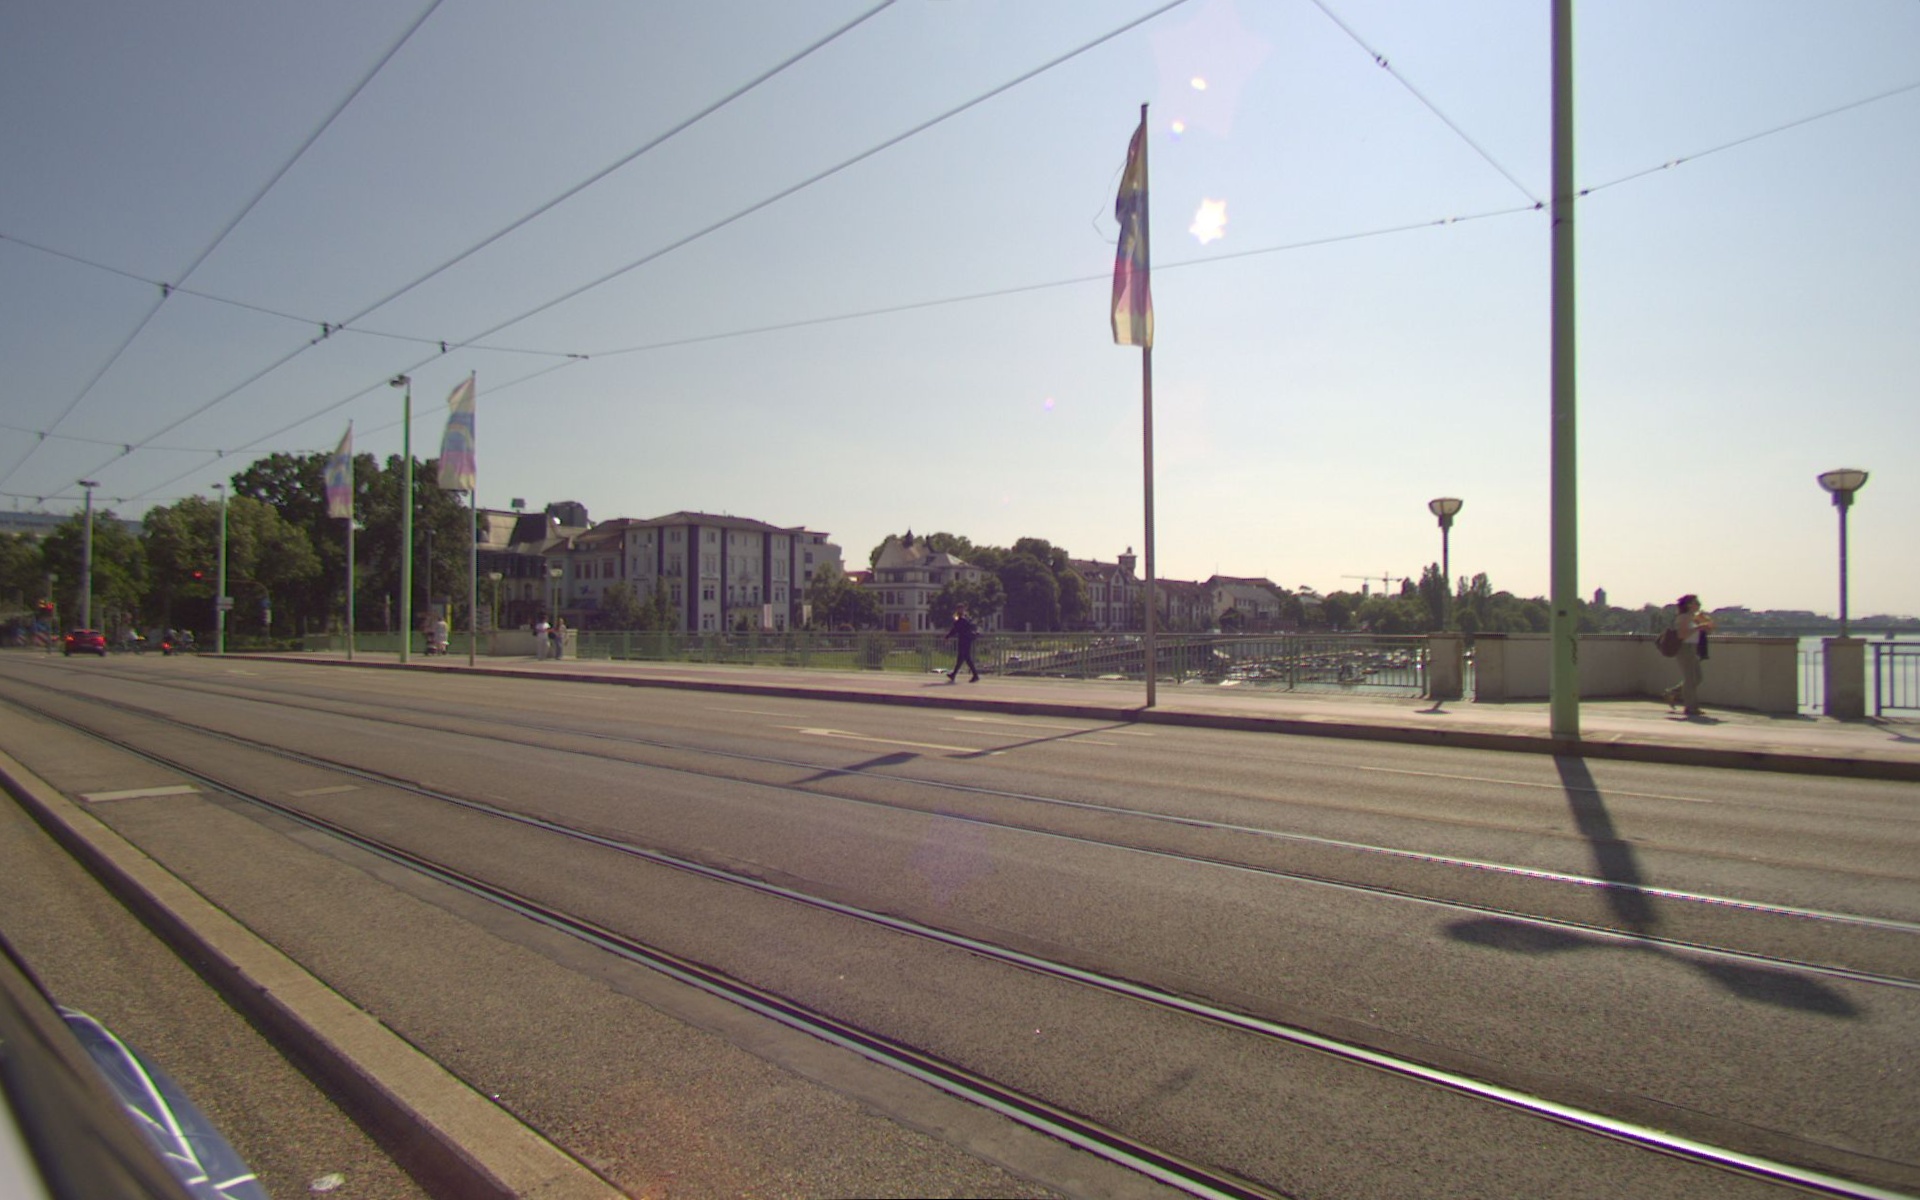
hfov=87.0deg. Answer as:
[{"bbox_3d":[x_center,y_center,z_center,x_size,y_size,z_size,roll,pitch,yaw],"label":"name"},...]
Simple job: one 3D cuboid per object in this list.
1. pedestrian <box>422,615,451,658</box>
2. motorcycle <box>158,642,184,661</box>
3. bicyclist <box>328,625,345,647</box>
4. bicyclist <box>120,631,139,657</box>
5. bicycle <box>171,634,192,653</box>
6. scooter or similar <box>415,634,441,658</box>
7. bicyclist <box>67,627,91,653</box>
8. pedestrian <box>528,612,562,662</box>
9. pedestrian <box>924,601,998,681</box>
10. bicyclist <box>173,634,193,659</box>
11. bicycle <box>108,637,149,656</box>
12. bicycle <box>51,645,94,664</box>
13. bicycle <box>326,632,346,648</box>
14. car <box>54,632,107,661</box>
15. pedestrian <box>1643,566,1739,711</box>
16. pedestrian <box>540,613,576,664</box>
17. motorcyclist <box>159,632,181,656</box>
[{"bbox_3d":[-23.144,1.613,44.748,0.974,1.867,0.731,-2,1,39],"label":"pedestrian"},{"bbox_3d":[-47.234,3.082,60.582,1.950,1.032,0.836,-2,-1,40],"label":"motorcycle"},{"bbox_3d":[-46.067,2.652,74.764,0.771,1.621,0.868,-1,-2,41],"label":"bicyclist"},{"bbox_3d":[-52.597,2.779,64.114,0.759,1.621,0.882,1,-2,-31],"label":"bicyclist"},{"bbox_3d":[-50.819,2.849,66.025,1.920,1.122,0.750,-4,-2,43],"label":"bicycle"},{"bbox_3d":[-23.826,2.057,45.334,0.832,1.037,0.731,-2,1,39],"label":"scooter or similar"},{"bbox_3d":[-55.263,2.495,63.472,0.865,1.621,0.774,0,-1,-15],"label":"bicyclist"},{"bbox_3d":[-15.393,1.379,37.549,0.956,1.798,0.731,-2,1,39],"label":"pedestrian"},{"bbox_3d":[0.015,0.931,23.116,1.293,1.771,1.086,-2,-2,39],"label":"pedestrian"},{"bbox_3d":[-50.854,3.028,66.209,0.772,1.621,0.867,-4,-5,43],"label":"bicyclist"},{"bbox_3d":[-52.641,2.937,64.079,1.887,1.122,0.763,1,-2,-32],"label":"bicycle"},{"bbox_3d":[-55.496,3.389,63.299,1.887,1.122,0.763,0,-1,-17],"label":"bicycle"},{"bbox_3d":[-46.163,2.932,74.840,1.919,1.122,0.751,-1,-2,41],"label":"bicycle"},{"bbox_3d":[-49.518,2.593,56.952,4.191,1.526,1.971,-1,-2,45],"label":"car"},{"bbox_3d":[10.673,0.556,14.777,1.041,2.029,0.890,-2,-2,39],"label":"pedestrian"},{"bbox_3d":[-15.156,1.434,38.179,1.120,1.862,0.731,-2,1,39],"label":"pedestrian"},{"bbox_3d":[-47.464,2.645,60.784,0.897,1.412,0.836,-2,-1,39],"label":"motorcyclist"}]
